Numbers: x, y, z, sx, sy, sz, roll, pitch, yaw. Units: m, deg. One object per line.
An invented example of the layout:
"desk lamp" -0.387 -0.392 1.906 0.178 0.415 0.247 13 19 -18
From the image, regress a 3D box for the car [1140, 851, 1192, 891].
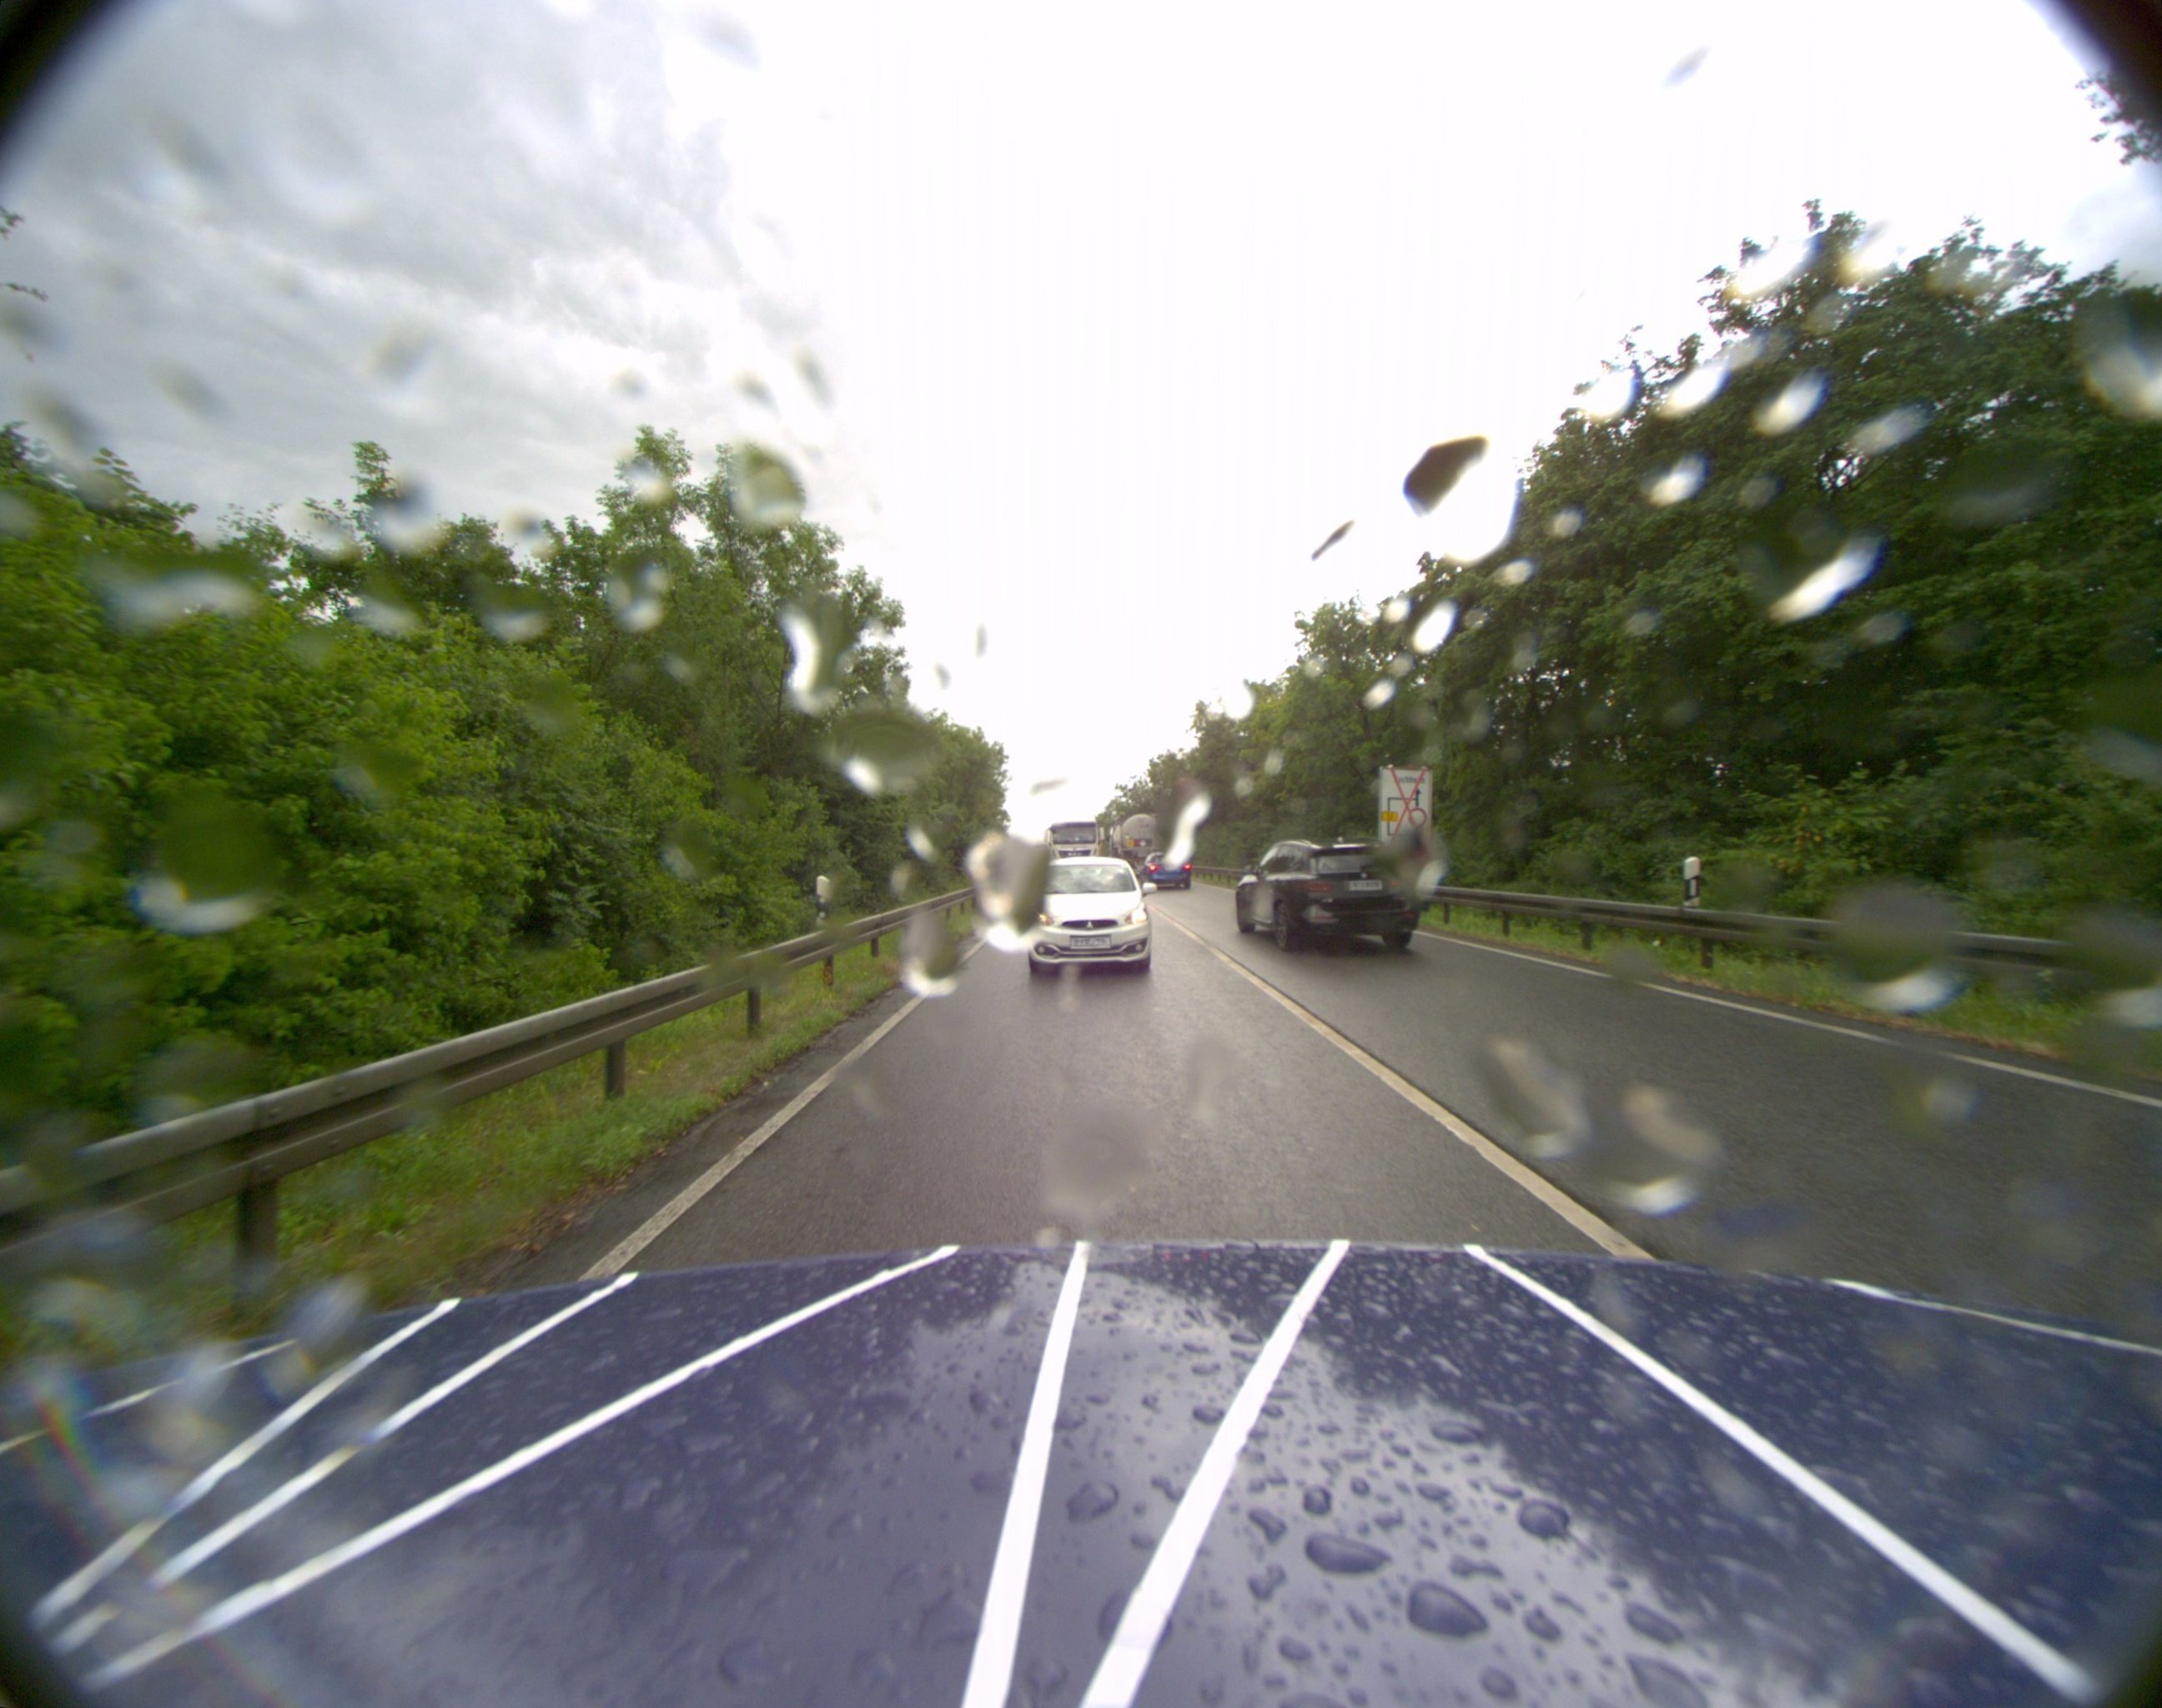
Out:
"car" 3.624 0.687 33.080 1.712 1.507 3.911 -2 1 -1

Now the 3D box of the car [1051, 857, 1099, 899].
"car" -0.160 0.876 29.315 1.640 1.413 4.492 -2 0 2

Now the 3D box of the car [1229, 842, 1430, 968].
"car" 3.766 0.673 12.368 1.852 1.634 4.298 -2 0 0

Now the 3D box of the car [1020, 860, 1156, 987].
"car" 0.093 0.866 11.369 1.610 1.435 4.208 -2 0 0

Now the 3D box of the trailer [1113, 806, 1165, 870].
"trailer" 3.661 -1.008 50.048 2.543 3.803 7.789 -2 1 -1

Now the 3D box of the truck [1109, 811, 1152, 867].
"truck" 3.532 -1.084 55.543 2.543 3.803 5.243 -2 1 -1

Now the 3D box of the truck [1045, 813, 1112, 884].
"truck" -0.358 -0.337 41.830 3.137 3.364 9.279 -2 1 -3
